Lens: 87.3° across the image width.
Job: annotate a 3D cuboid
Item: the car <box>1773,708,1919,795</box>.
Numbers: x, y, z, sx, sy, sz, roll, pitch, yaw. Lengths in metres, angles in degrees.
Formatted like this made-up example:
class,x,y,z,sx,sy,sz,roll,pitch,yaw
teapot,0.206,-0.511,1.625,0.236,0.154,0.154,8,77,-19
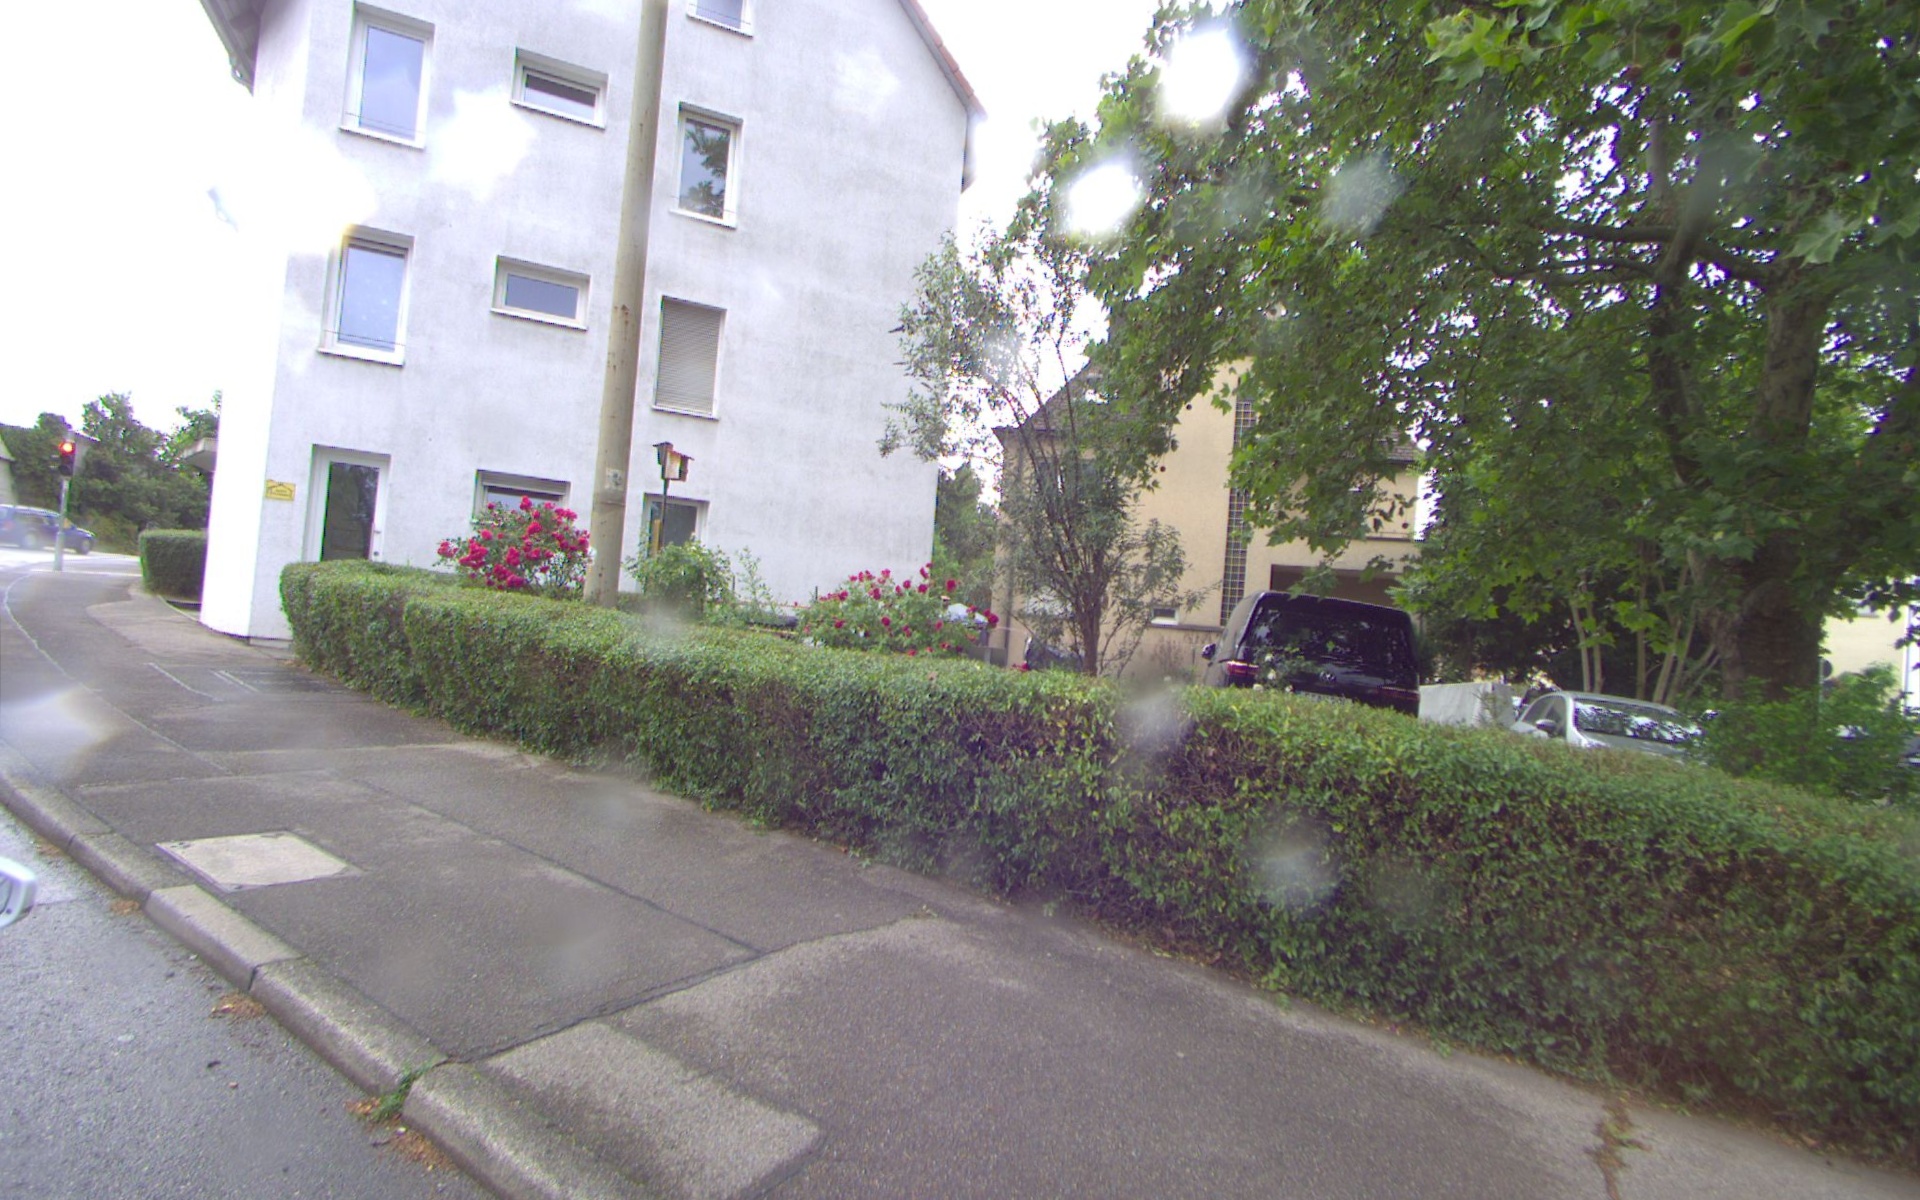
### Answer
class,x,y,z,sx,sy,sz,roll,pitch,yaw
car,25.271,4.198,27.981,1.962,1.861,4.584,6,-1,9

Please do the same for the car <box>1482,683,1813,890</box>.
class,x,y,z,sx,sy,sz,roll,pitch,yaw
car,7.392,1.874,11.341,1.788,1.599,4.003,6,-2,16

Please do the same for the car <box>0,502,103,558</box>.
class,x,y,z,sx,sy,sz,roll,pitch,yaw
car,-32.944,-2.507,35.514,1.964,1.536,4.001,6,-2,-4

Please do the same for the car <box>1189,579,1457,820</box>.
class,x,y,z,sx,sy,sz,roll,pitch,yaw
car,3.763,0.986,11.298,1.962,1.955,4.419,6,-1,11

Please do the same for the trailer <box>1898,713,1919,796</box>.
class,x,y,z,sx,sy,sz,roll,pitch,yaw
trailer,24.727,3.911,23.968,1.640,2.037,3.494,6,-1,8

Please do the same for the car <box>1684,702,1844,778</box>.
class,x,y,z,sx,sy,sz,roll,pitch,yaw
car,26.356,4.537,33.227,1.962,1.861,4.584,6,-1,9
